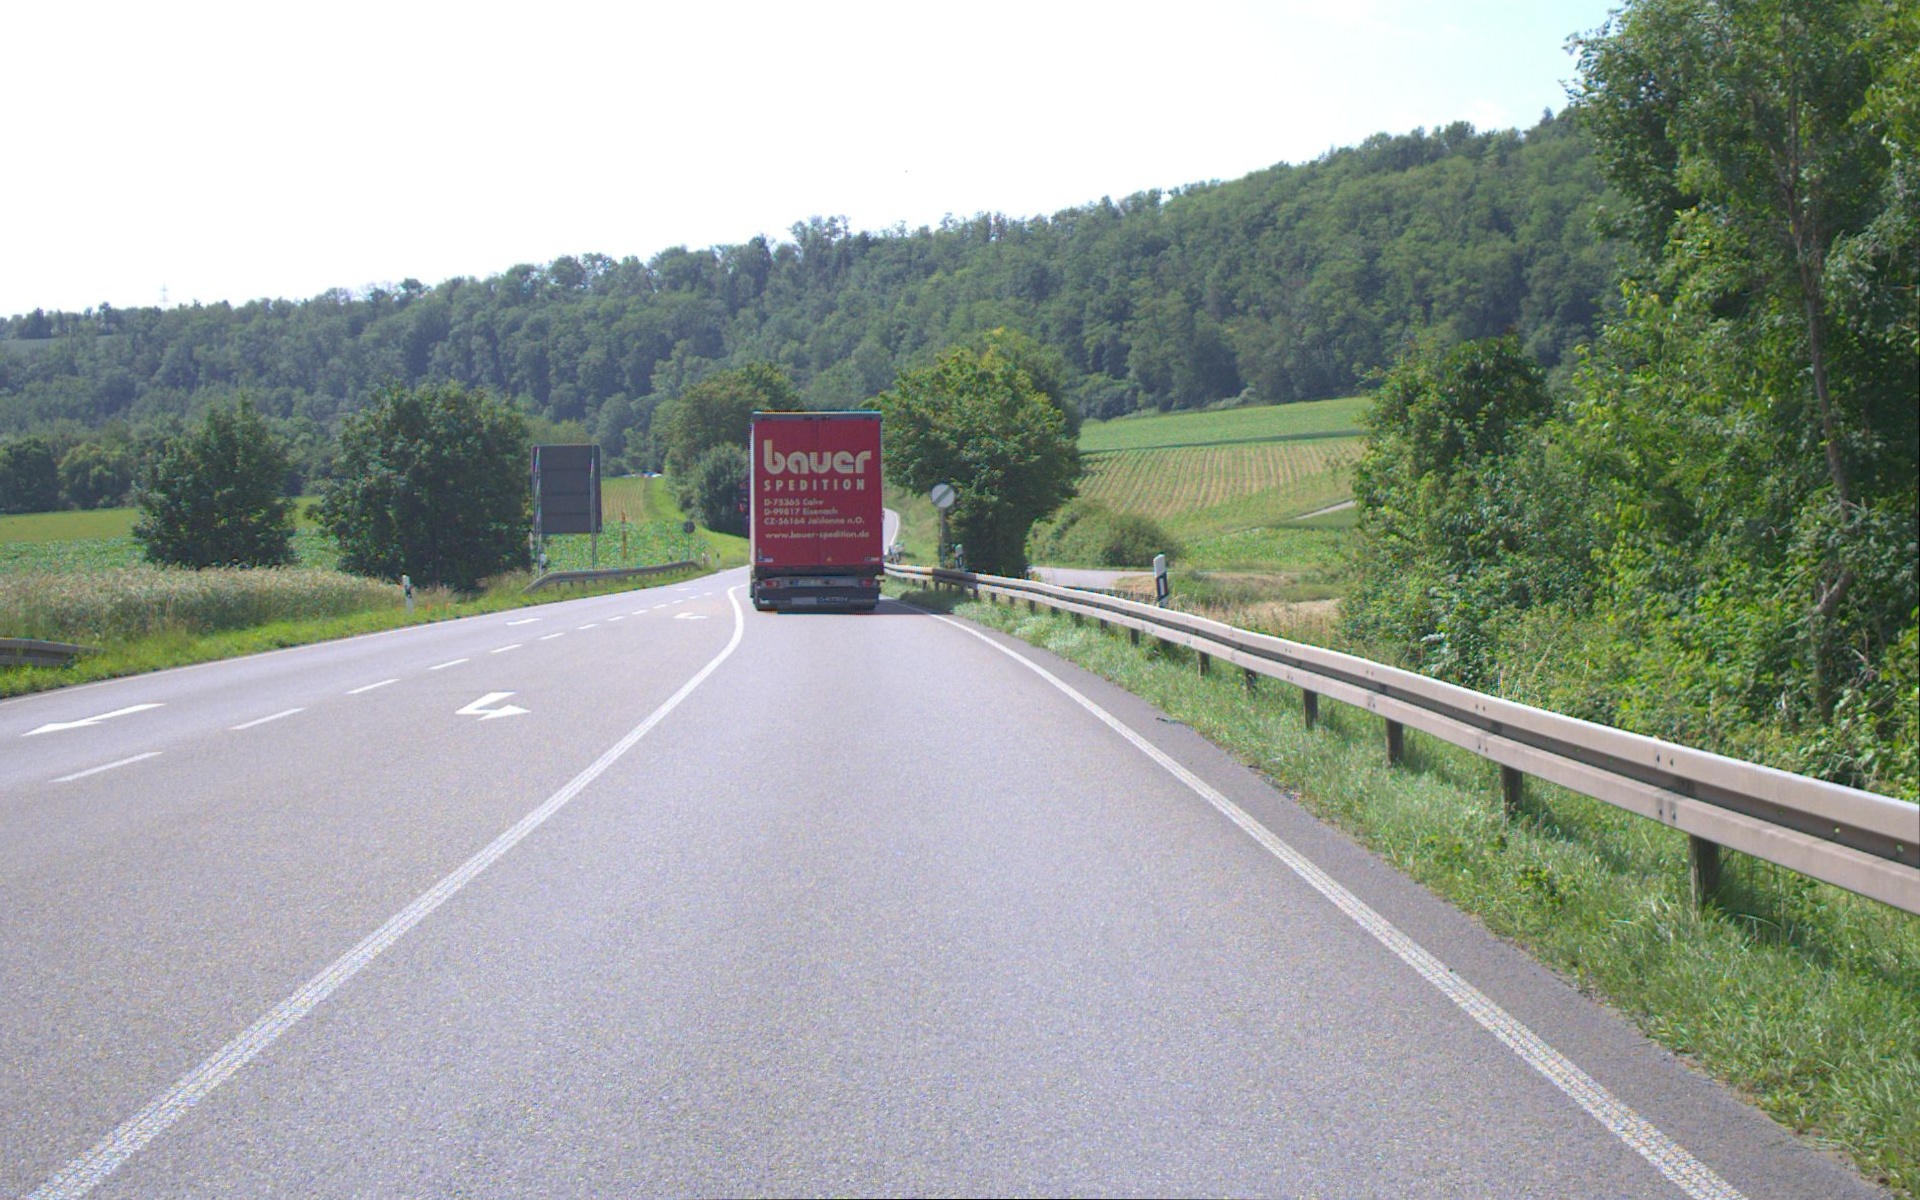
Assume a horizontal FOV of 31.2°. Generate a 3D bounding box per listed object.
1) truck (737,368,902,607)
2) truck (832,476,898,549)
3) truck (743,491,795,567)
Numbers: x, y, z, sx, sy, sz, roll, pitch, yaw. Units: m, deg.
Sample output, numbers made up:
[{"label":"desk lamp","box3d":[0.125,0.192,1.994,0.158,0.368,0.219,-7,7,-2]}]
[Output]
[{"label":"truck","box3d":[-3.065,-2.356,73.556,3.172,4.609,13.546,-1,1,-3]},{"label":"truck","box3d":[-6.001,-5.453,217.436,3.905,4.354,13.294,2,1,-2]},{"label":"truck","box3d":[-10.649,-3.968,192.145,2.530,4.105,6.021,-2,1,-1]}]
